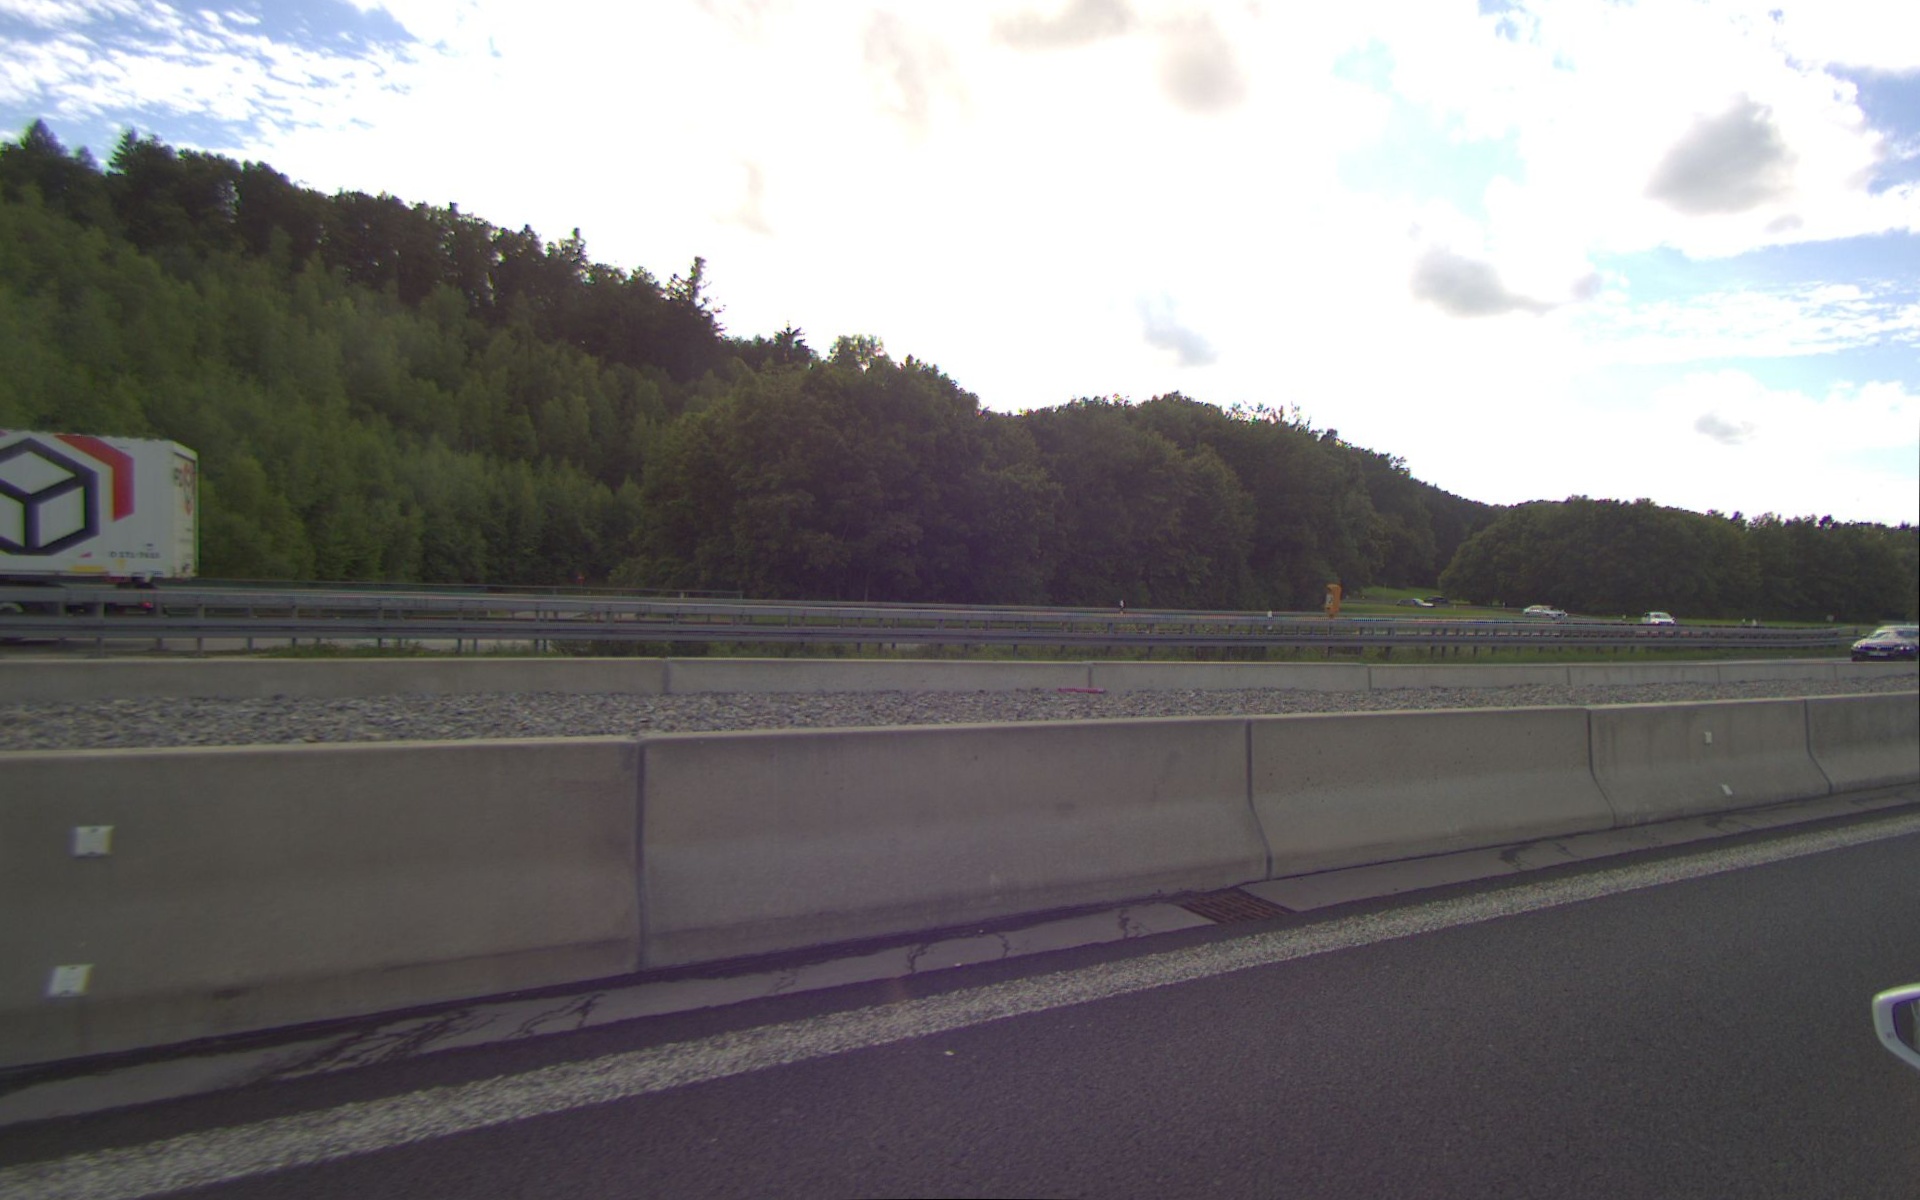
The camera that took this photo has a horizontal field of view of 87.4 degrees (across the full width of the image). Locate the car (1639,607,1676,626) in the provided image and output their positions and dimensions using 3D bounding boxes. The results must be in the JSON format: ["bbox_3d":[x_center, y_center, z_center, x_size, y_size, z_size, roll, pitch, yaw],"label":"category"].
[{"bbox_3d":[55.988,1.294,80.712,1.755,1.450,4.619,2,0,27],"label":"car"}]

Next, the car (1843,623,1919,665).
[{"bbox_3d":[35.151,1.614,37.478,4.758,1.421,1.983,1,0,-31],"label":"car"}]

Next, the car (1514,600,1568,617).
[{"bbox_3d":[60.069,0.868,104.009,1.907,1.694,5.215,1,0,-9],"label":"car"}]

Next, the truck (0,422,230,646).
[{"bbox_3d":[-20.185,-1.363,18.585,10.342,4.021,2.888,3,-1,-30],"label":"truck"}]
